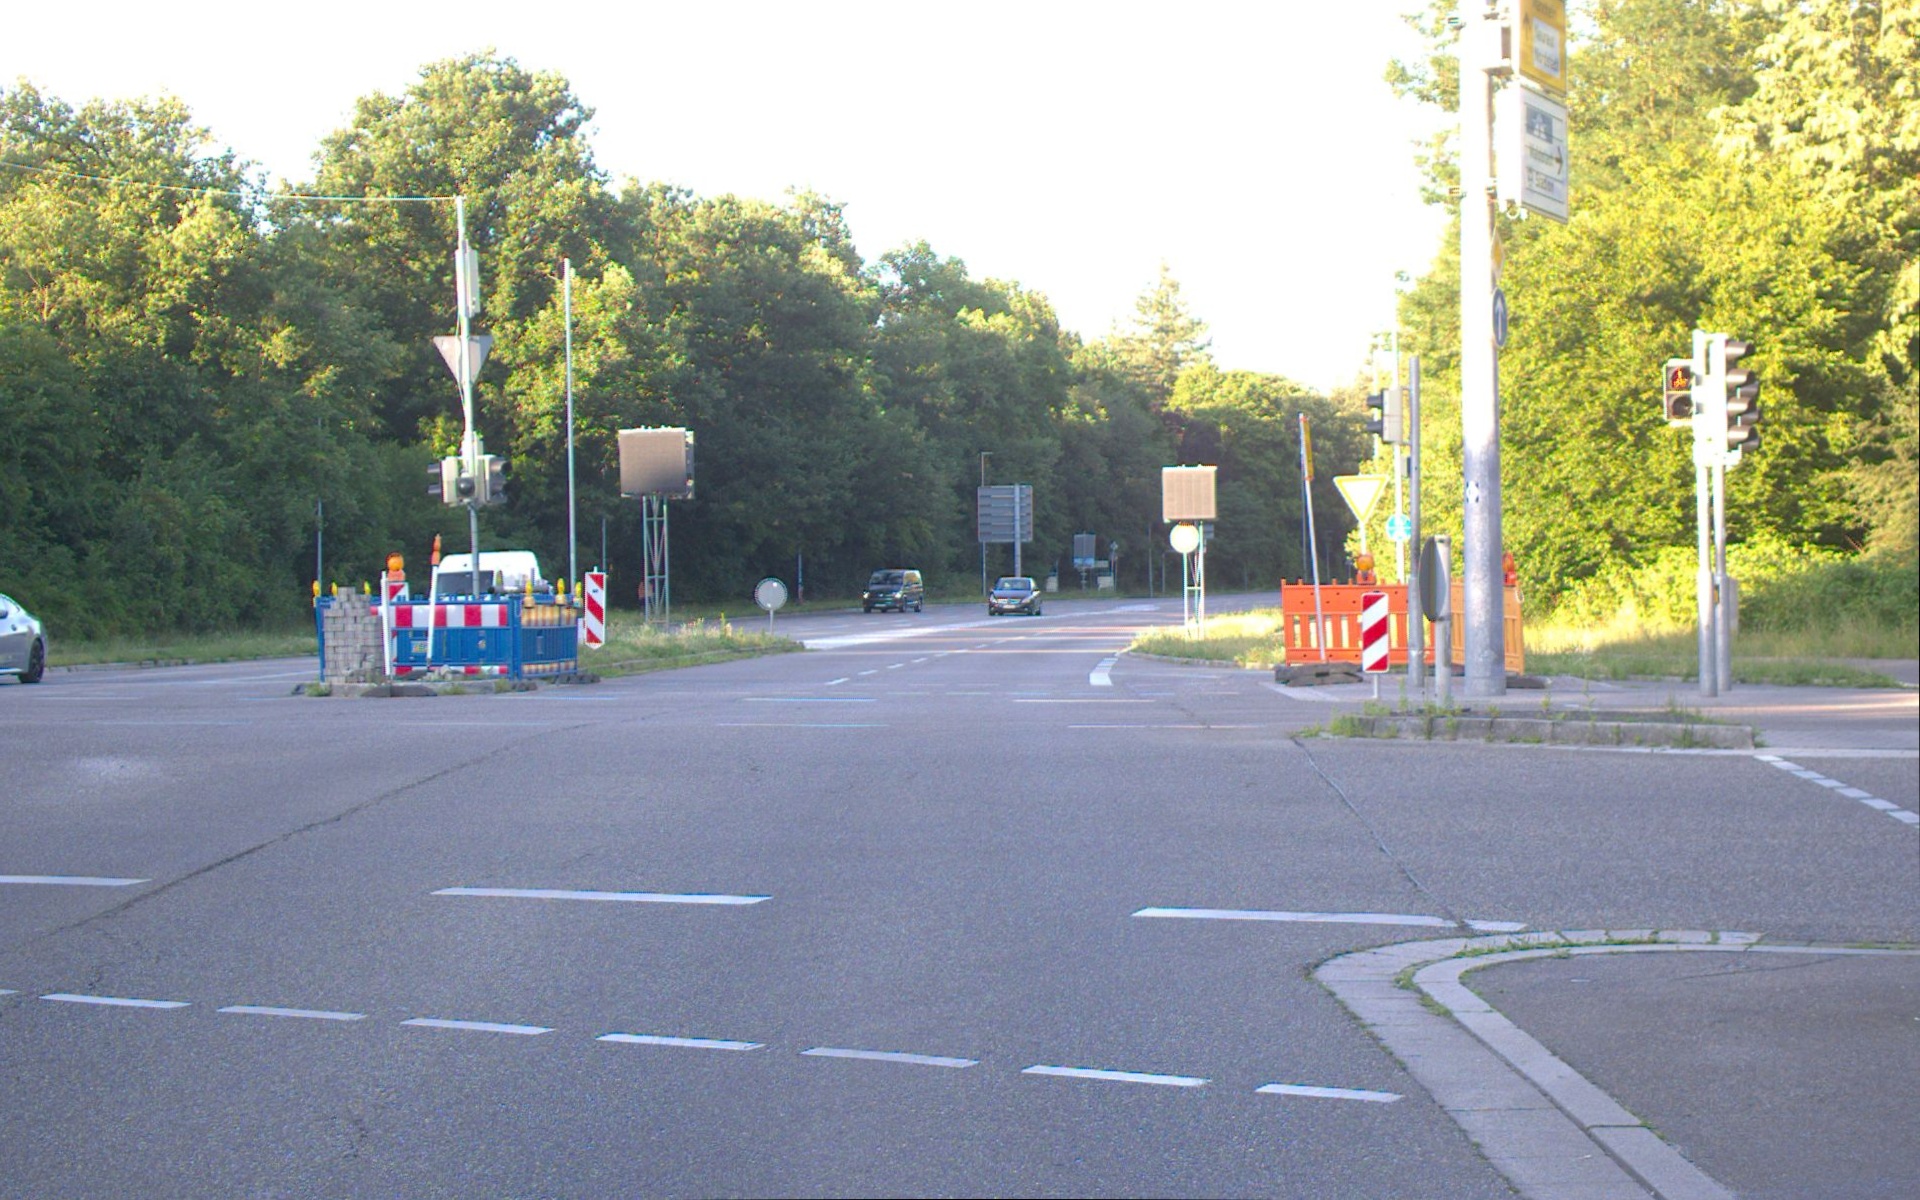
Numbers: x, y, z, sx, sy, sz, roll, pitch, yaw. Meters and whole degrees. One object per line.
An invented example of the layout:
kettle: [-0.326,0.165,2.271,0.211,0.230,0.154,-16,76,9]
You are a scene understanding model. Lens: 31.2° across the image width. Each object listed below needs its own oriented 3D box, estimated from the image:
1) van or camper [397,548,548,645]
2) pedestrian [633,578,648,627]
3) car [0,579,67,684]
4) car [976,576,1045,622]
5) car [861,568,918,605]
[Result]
van or camper: [-13.825,-0.146,98.075,2.885,2.643,7.121,0,1,3]
pedestrian: [-13.079,0.099,140.683,0.521,2.007,0.600,1,0,-1]
car: [-14.267,0.453,48.544,1.891,1.436,4.500,-1,1,4]
car: [2.041,-0.053,138.332,1.994,1.634,3.998,-2,2,12]
car: [-3.202,-0.641,156.927,1.994,1.634,3.999,0,1,8]
